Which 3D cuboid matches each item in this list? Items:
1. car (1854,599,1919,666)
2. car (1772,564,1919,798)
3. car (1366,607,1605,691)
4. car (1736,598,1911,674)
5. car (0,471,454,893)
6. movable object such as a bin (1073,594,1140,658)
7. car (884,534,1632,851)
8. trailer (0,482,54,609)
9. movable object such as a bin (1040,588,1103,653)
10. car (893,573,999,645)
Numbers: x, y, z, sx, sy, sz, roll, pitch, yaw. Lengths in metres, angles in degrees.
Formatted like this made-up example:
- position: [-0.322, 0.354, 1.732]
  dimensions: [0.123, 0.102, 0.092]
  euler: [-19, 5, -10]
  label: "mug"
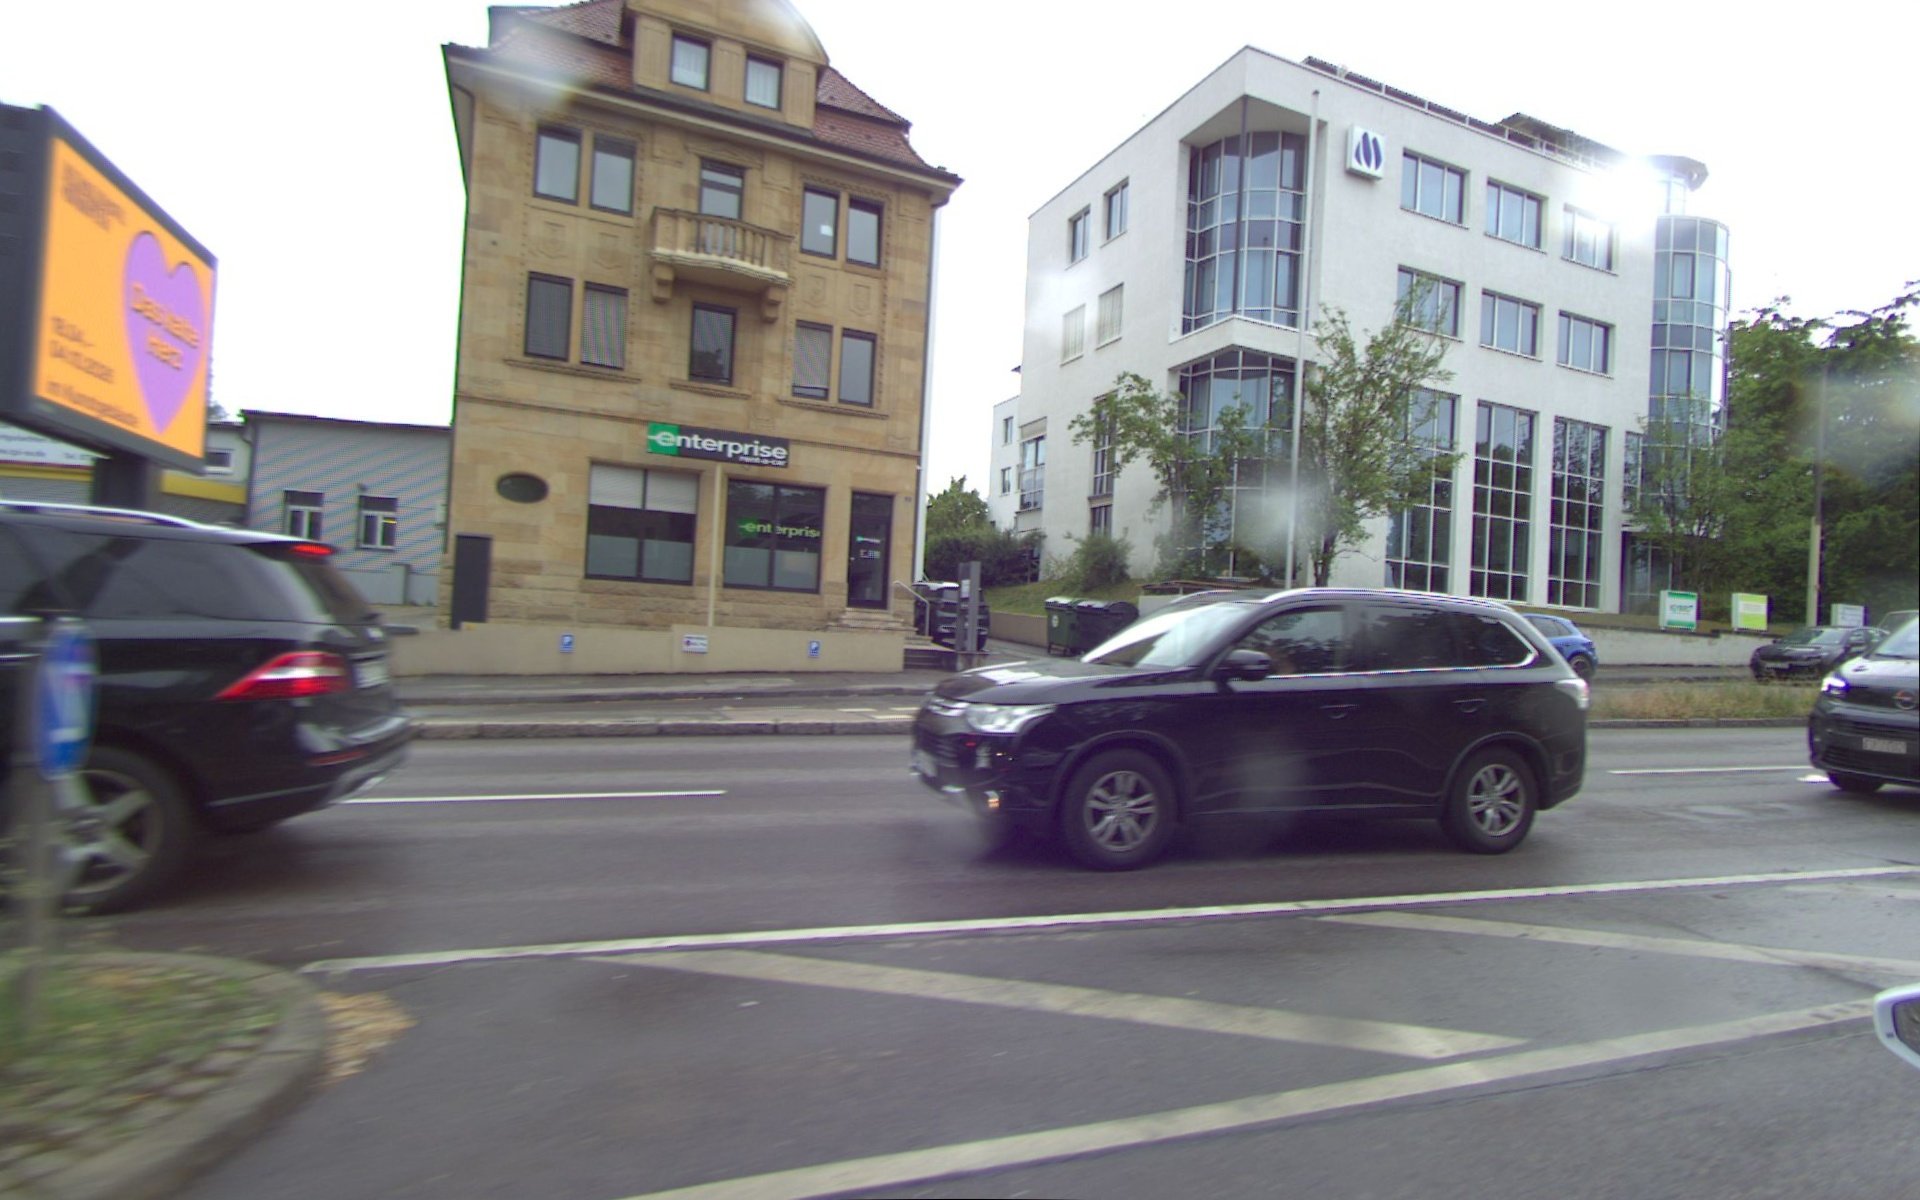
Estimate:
- position: [27.032, 0.905, 27.679]
  dimensions: [4.516, 1.769, 1.768]
  euler: [1, -1, -22]
  label: "car"
- position: [10.100, 0.739, 9.060]
  dimensions: [4.963, 1.891, 2.013]
  euler: [2, -1, -19]
  label: "car"
- position: [10.601, 0.968, 20.249]
  dimensions: [4.603, 1.554, 1.685]
  euler: [1, -1, -22]
  label: "car"
- position: [21.089, 0.880, 24.536]
  dimensions: [3.935, 1.744, 1.608]
  euler: [1, -1, -22]
  label: "car"
- position: [-5.113, 0.312, 4.721]
  dimensions: [4.552, 1.719, 1.954]
  euler: [2, -2, -18]
  label: "car"
- position: [3.431, 0.603, 23.617]
  dimensions: [1.082, 1.425, 1.183]
  euler: [1, 1, -23]
  label: "movable object such as a bin"
- position: [1.995, 0.651, 6.726]
  dimensions: [4.657, 1.625, 1.687]
  euler: [4, -2, -19]
  label: "car"
- position: [-19.252, -1.167, 17.548]
  dimensions: [2.359, 2.459, 7.089]
  euler: [4, -2, -19]
  label: "trailer"
- position: [2.781, 0.507, 25.256]
  dimensions: [1.026, 1.561, 1.241]
  euler: [3, -1, -24]
  label: "movable object such as a bin"
- position: [-0.421, 0.249, 26.517]
  dimensions: [1.692, 1.697, 3.036]
  euler: [4, -2, -23]
  label: "car"
